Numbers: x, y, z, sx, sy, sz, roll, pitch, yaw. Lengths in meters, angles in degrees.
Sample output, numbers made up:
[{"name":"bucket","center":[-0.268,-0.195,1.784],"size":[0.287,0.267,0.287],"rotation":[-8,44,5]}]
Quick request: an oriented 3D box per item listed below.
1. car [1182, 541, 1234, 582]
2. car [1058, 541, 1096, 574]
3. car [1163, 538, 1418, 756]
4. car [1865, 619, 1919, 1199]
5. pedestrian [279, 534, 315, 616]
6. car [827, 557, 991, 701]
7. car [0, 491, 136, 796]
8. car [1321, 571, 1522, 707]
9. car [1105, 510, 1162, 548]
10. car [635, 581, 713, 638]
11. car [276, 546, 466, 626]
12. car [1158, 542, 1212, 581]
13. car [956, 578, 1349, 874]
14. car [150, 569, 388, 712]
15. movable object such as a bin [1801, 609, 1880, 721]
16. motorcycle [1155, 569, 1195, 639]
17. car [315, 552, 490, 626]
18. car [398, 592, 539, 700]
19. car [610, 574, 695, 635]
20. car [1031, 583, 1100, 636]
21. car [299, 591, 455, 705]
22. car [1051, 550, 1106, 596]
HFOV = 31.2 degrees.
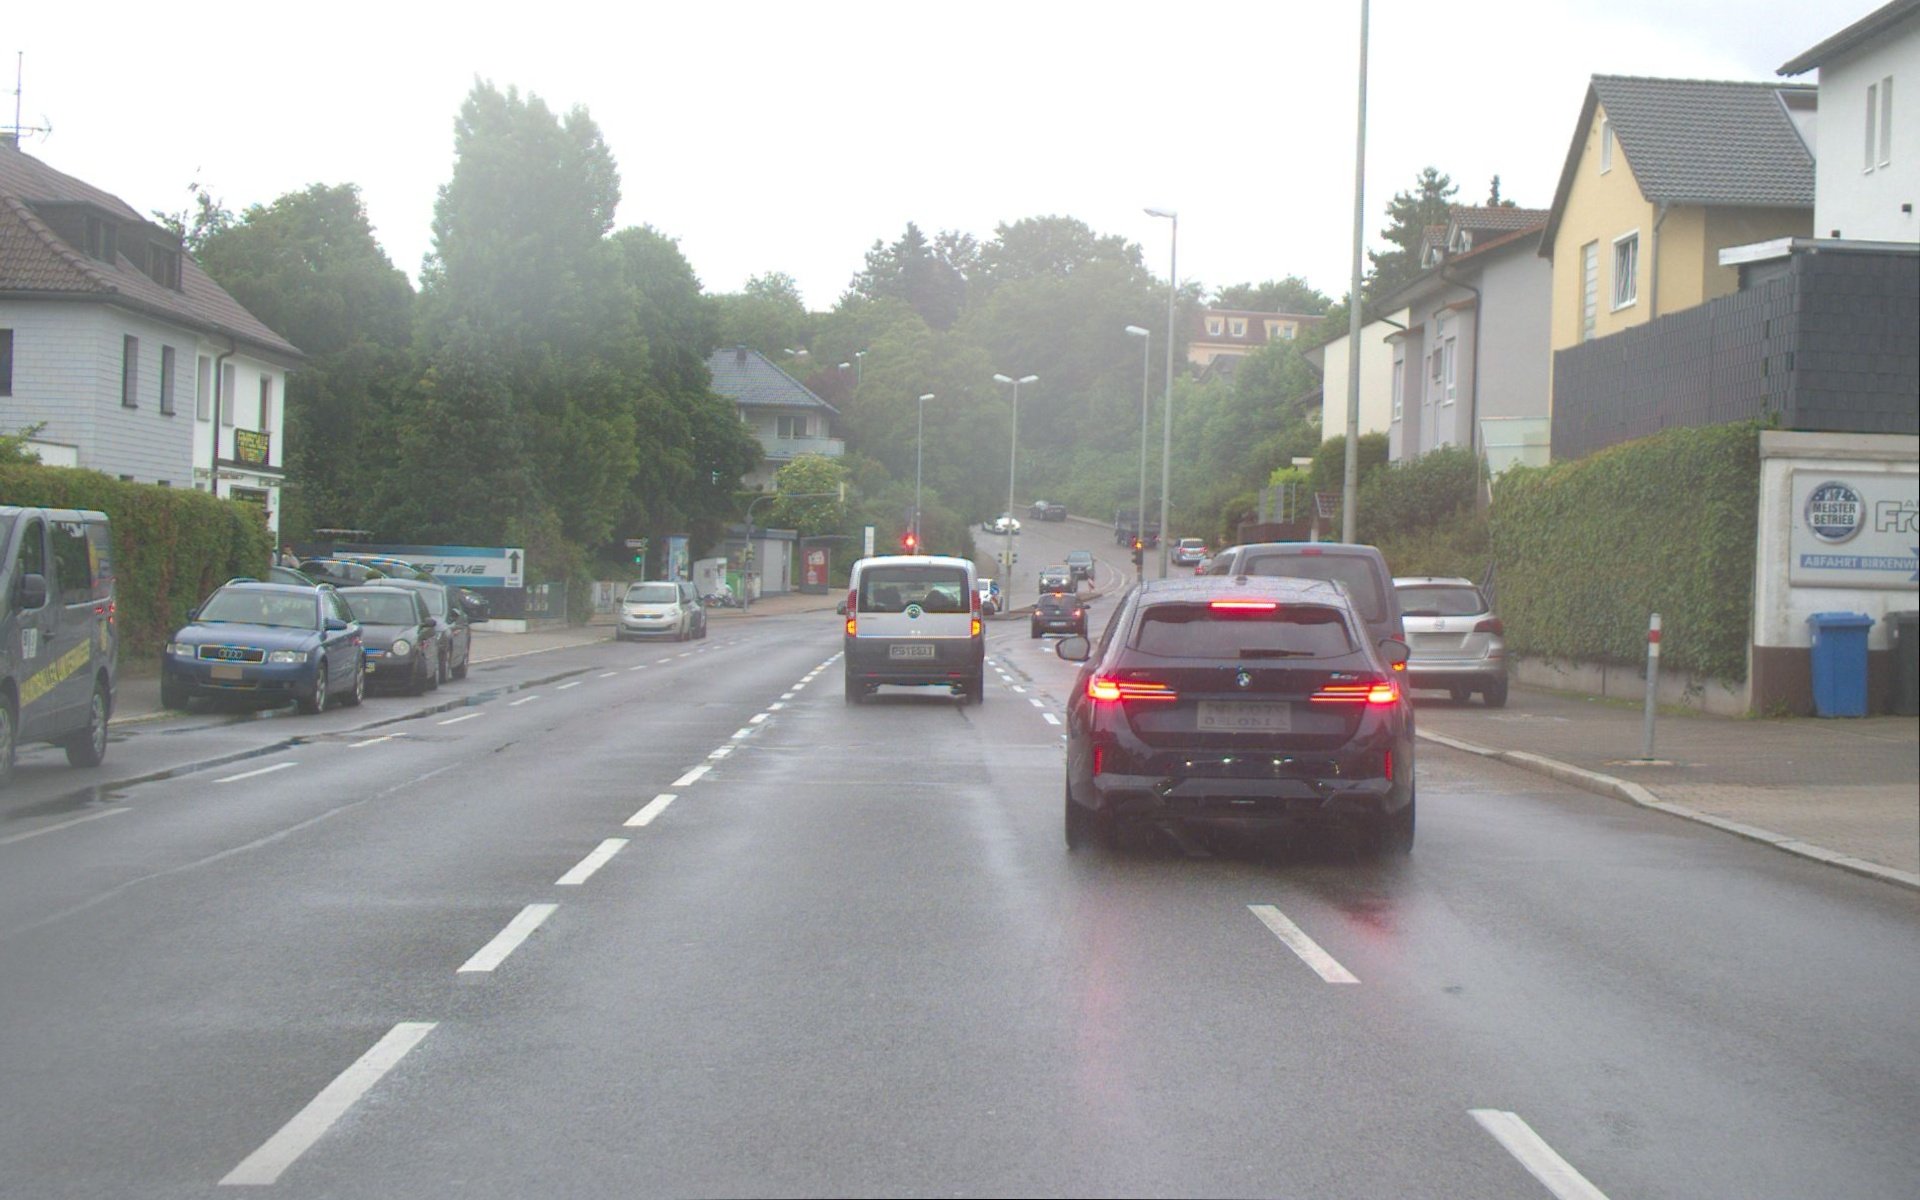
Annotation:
[{"name":"car","center":[13.737,-2.148,190.968],"size":[2.522,2.006,5.609],"rotation":[2,3,1]},{"name":"car","center":[6.699,-2.447,196.973],"size":[1.993,1.765,4.001],"rotation":[-1,2,0]},{"name":"car","center":[2.839,0.385,30.333],"size":[1.838,1.761,4.000],"rotation":[1,0,0]},{"name":"car","center":[2.822,0.784,5.098],"size":[1.756,1.444,4.000],"rotation":[1,0,-2]},{"name":"pedestrian","center":[-14.811,-0.561,76.787],"size":[0.600,1.784,0.650],"rotation":[4,0,-5]},{"name":"car","center":[-0.624,0.353,44.440],"size":[1.993,1.731,4.000],"rotation":[1,0,0]},{"name":"car","center":[-7.326,0.265,24.388],"size":[1.912,1.996,5.088],"rotation":[1,0,-3]},{"name":"car","center":[5.433,0.437,40.980],"size":[1.700,1.505,4.535],"rotation":[1,0,-1]},{"name":"car","center":[11.381,-4.664,225.591],"size":[2.521,2.006,5.611],"rotation":[2,5,-9]},{"name":"car","center":[-8.221,0.267,99.173],"size":[1.884,1.579,4.000],"rotation":[1,0,0]},{"name":"car","center":[-13.872,-0.333,81.151],"size":[4.072,1.511,1.856],"rotation":[5,0,0]},{"name":"car","center":[13.635,-2.353,208.915],"size":[2.521,2.006,5.610],"rotation":[2,4,-4]},{"name":"car","center":[1.021,0.644,19.670],"size":[1.993,1.479,4.000],"rotation":[1,0,1]},{"name":"car","center":[-7.886,0.441,39.603],"size":[1.757,1.527,4.286],"rotation":[1,0,1]},{"name":"movable object such as a bin","center":[8.947,0.655,34.948],"size":[0.595,1.101,0.667],"rotation":[-2,0,-1]},{"name":"motorcycle","center":[4.769,0.084,76.275],"size":[0.703,1.504,2.150],"rotation":[-1,0,0]},{"name":"car","center":[-14.228,-0.279,87.829],"size":[4.072,1.511,1.856],"rotation":[5,0,0]},{"name":"car","center":[-7.376,0.666,51.899],"size":[1.757,1.527,4.209],"rotation":[1,0,-4]},{"name":"car","center":[-8.231,0.117,92.246],"size":[1.884,1.579,4.000],"rotation":[1,0,0]},{"name":"car","center":[3.373,0.287,110.388],"size":[1.993,1.573,4.000],"rotation":[-1,1,-1]},{"name":"car","center":[-7.735,0.604,45.872],"size":[1.551,1.426,4.015],"rotation":[1,0,-3]},{"name":"car","center":[6.093,-1.412,177.406],"size":[2.521,2.006,5.609],"rotation":[2,3,0]}]
